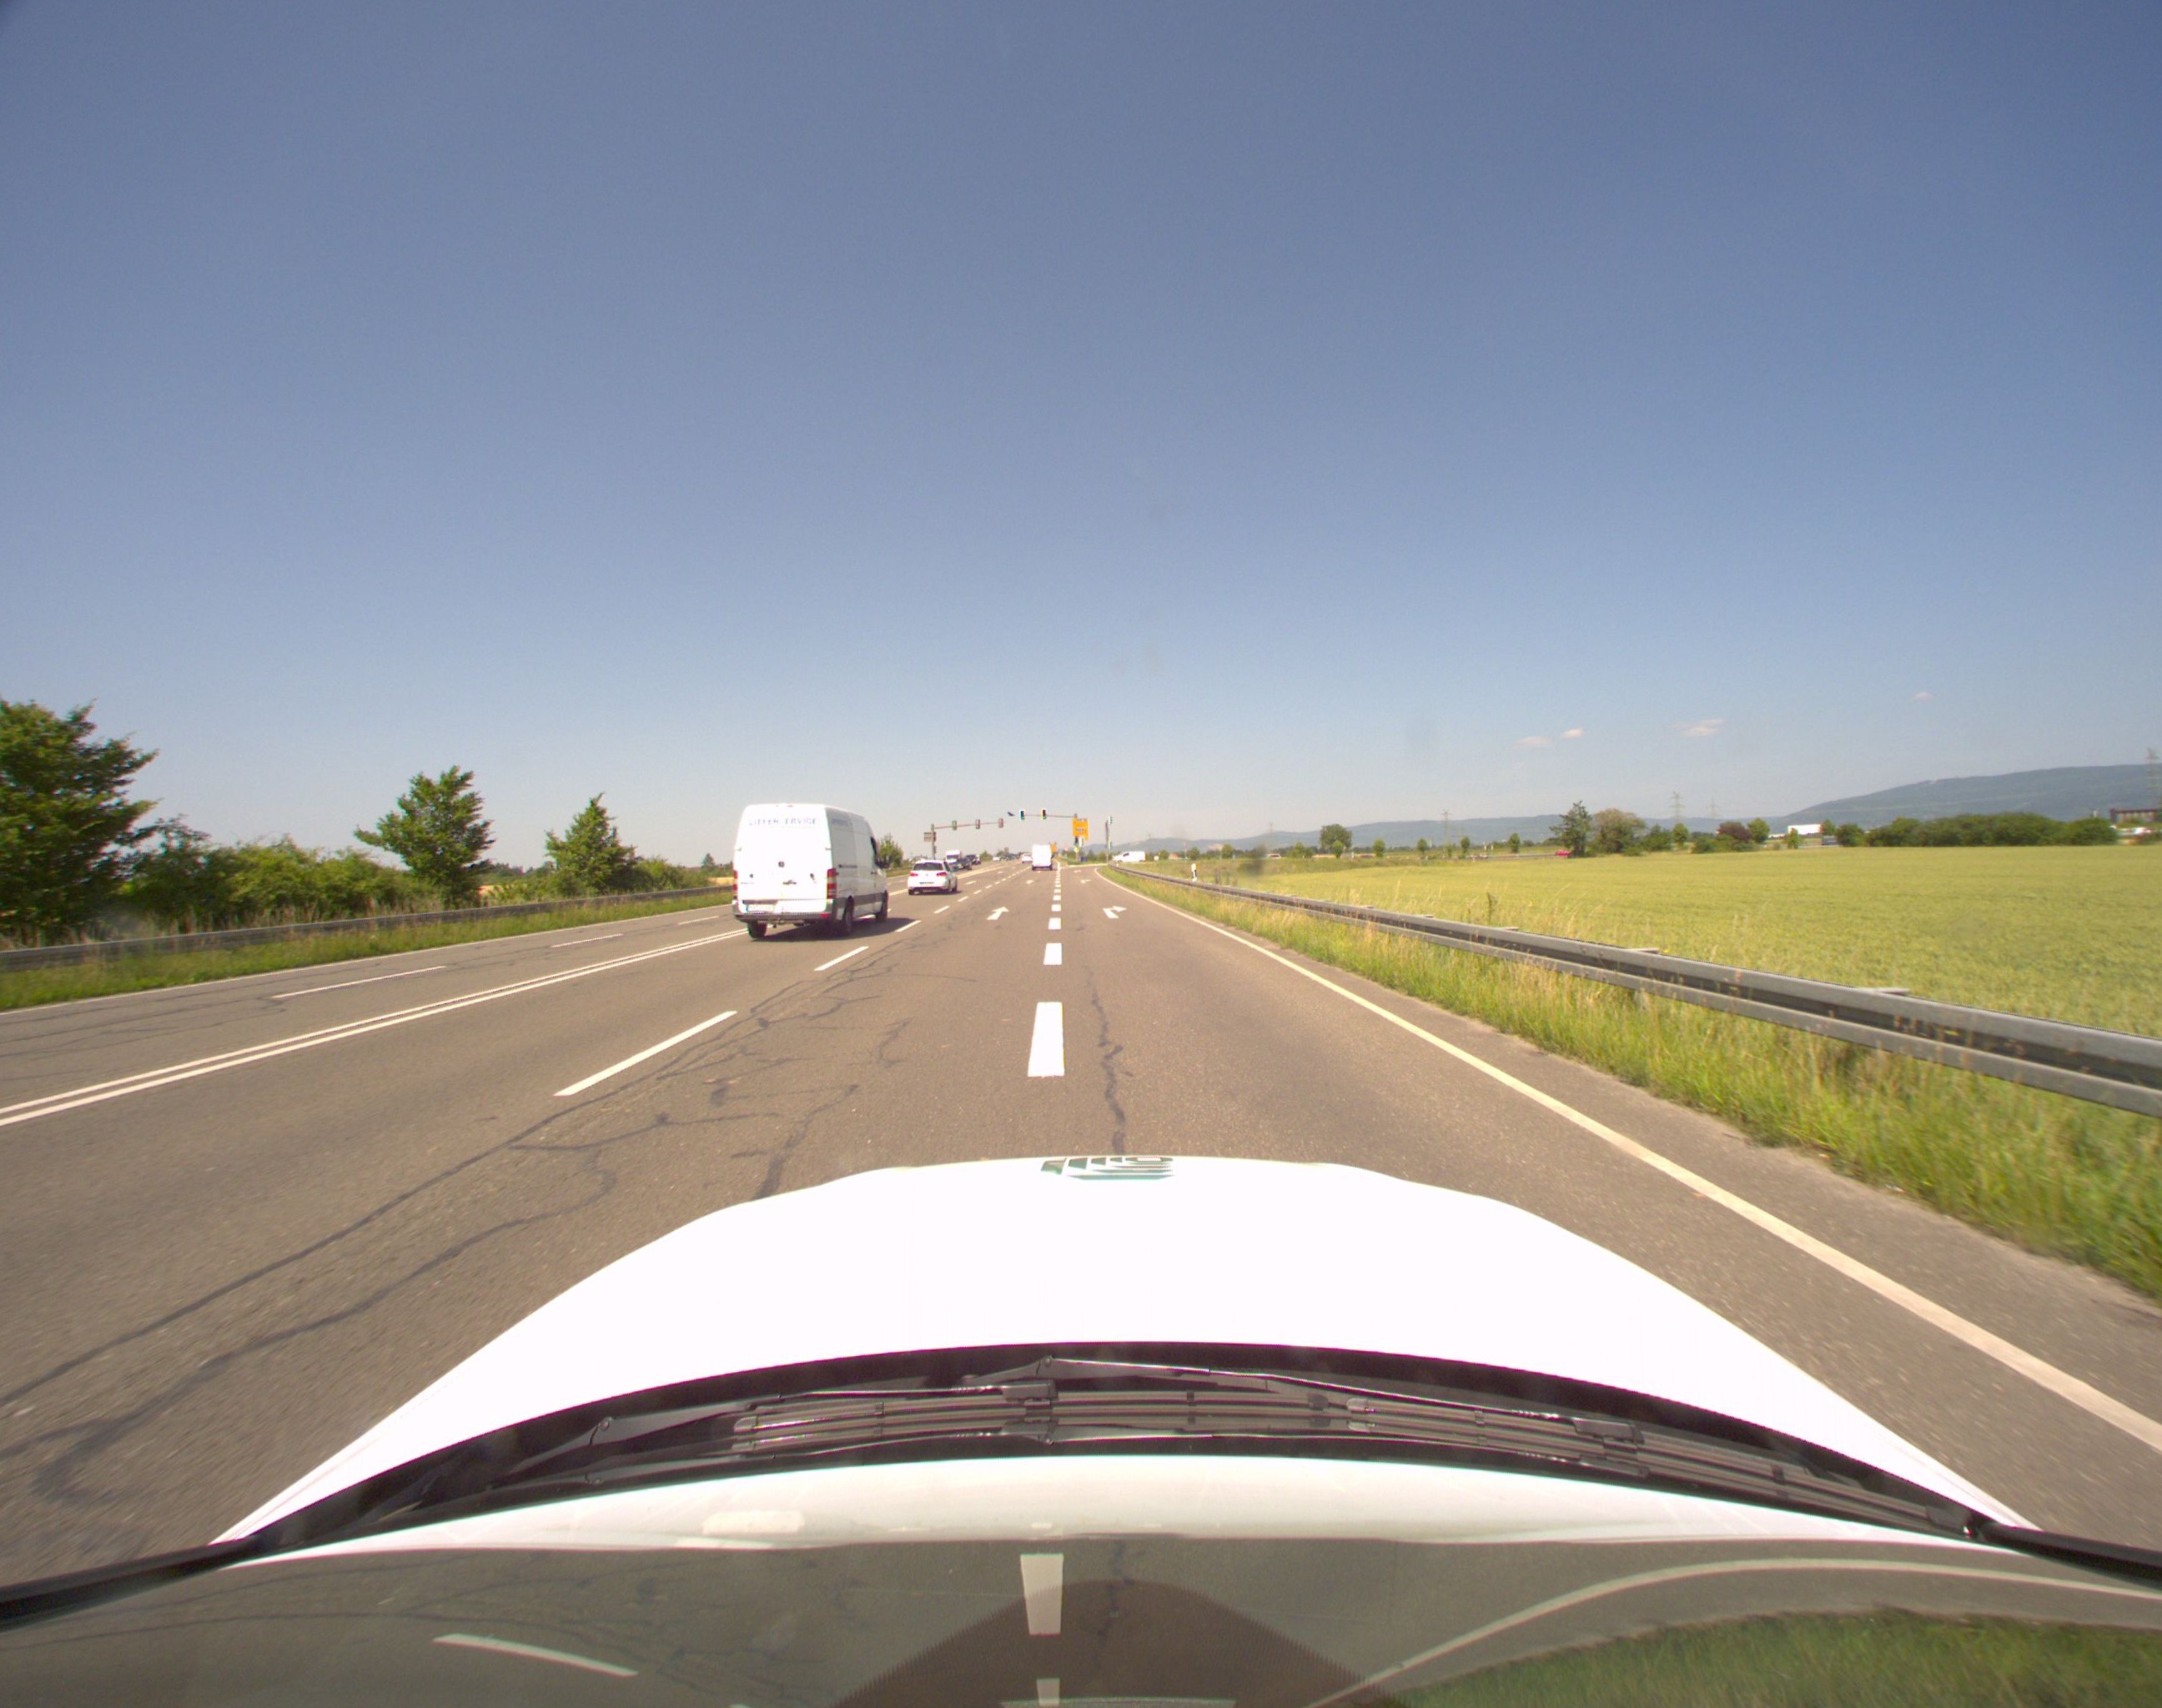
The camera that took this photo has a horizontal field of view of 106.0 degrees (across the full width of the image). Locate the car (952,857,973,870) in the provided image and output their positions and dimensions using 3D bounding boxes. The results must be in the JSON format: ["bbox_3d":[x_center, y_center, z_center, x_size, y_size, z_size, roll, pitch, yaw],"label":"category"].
[{"bbox_3d":[-13.425,1.057,92.630,1.852,1.423,3.998,-1,-1,-1],"label":"car"}]

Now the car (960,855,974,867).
[{"bbox_3d":[-19.868,1.228,142.006,1.868,1.887,3.331,-1,-1,-1],"label":"car"}]

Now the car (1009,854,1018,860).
[{"bbox_3d":[-19.388,0.944,234.776,1.986,1.618,4.001,0,-1,2],"label":"car"}]

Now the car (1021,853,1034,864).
[{"bbox_3d":[-9.120,0.788,139.518,1.988,1.703,4.272,0,-1,-2],"label":"car"}]

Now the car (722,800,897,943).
[{"bbox_3d":[-5.709,0.355,18.036,2.033,2.620,5.737,-1,-1,-2],"label":"car"}]

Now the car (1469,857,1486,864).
[{"bbox_3d":[81.894,1.381,168.240,3.496,1.486,1.633,1,-2,-32],"label":"car"}]

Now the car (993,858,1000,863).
[{"bbox_3d":[-21.498,1.678,207.757,1.458,1.274,3.331,-1,-1,-1],"label":"car"}]

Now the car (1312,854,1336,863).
[{"bbox_3d":[39.223,0.758,131.405,3.491,1.486,1.635,0,-2,-26],"label":"car"}]

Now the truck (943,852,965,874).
[{"bbox_3d":[-17.916,1.321,115.153,2.290,2.957,5.280,-1,-1,-1],"label":"truck"}]

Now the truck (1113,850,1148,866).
[{"bbox_3d":[7.336,0.634,121.109,4.855,2.320,1.989,0,-2,-17],"label":"truck"}]

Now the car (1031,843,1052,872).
[{"bbox_3d":[-3.877,0.377,80.995,1.988,2.695,4.965,-1,-1,-2],"label":"car"}]

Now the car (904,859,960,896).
[{"bbox_3d":[-6.508,0.992,35.887,1.795,1.508,4.192,-1,0,-2],"label":"car"}]

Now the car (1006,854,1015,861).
[{"bbox_3d":[-17.415,0.837,201.349,1.629,1.486,4.001,0,-1,1],"label":"car"}]
